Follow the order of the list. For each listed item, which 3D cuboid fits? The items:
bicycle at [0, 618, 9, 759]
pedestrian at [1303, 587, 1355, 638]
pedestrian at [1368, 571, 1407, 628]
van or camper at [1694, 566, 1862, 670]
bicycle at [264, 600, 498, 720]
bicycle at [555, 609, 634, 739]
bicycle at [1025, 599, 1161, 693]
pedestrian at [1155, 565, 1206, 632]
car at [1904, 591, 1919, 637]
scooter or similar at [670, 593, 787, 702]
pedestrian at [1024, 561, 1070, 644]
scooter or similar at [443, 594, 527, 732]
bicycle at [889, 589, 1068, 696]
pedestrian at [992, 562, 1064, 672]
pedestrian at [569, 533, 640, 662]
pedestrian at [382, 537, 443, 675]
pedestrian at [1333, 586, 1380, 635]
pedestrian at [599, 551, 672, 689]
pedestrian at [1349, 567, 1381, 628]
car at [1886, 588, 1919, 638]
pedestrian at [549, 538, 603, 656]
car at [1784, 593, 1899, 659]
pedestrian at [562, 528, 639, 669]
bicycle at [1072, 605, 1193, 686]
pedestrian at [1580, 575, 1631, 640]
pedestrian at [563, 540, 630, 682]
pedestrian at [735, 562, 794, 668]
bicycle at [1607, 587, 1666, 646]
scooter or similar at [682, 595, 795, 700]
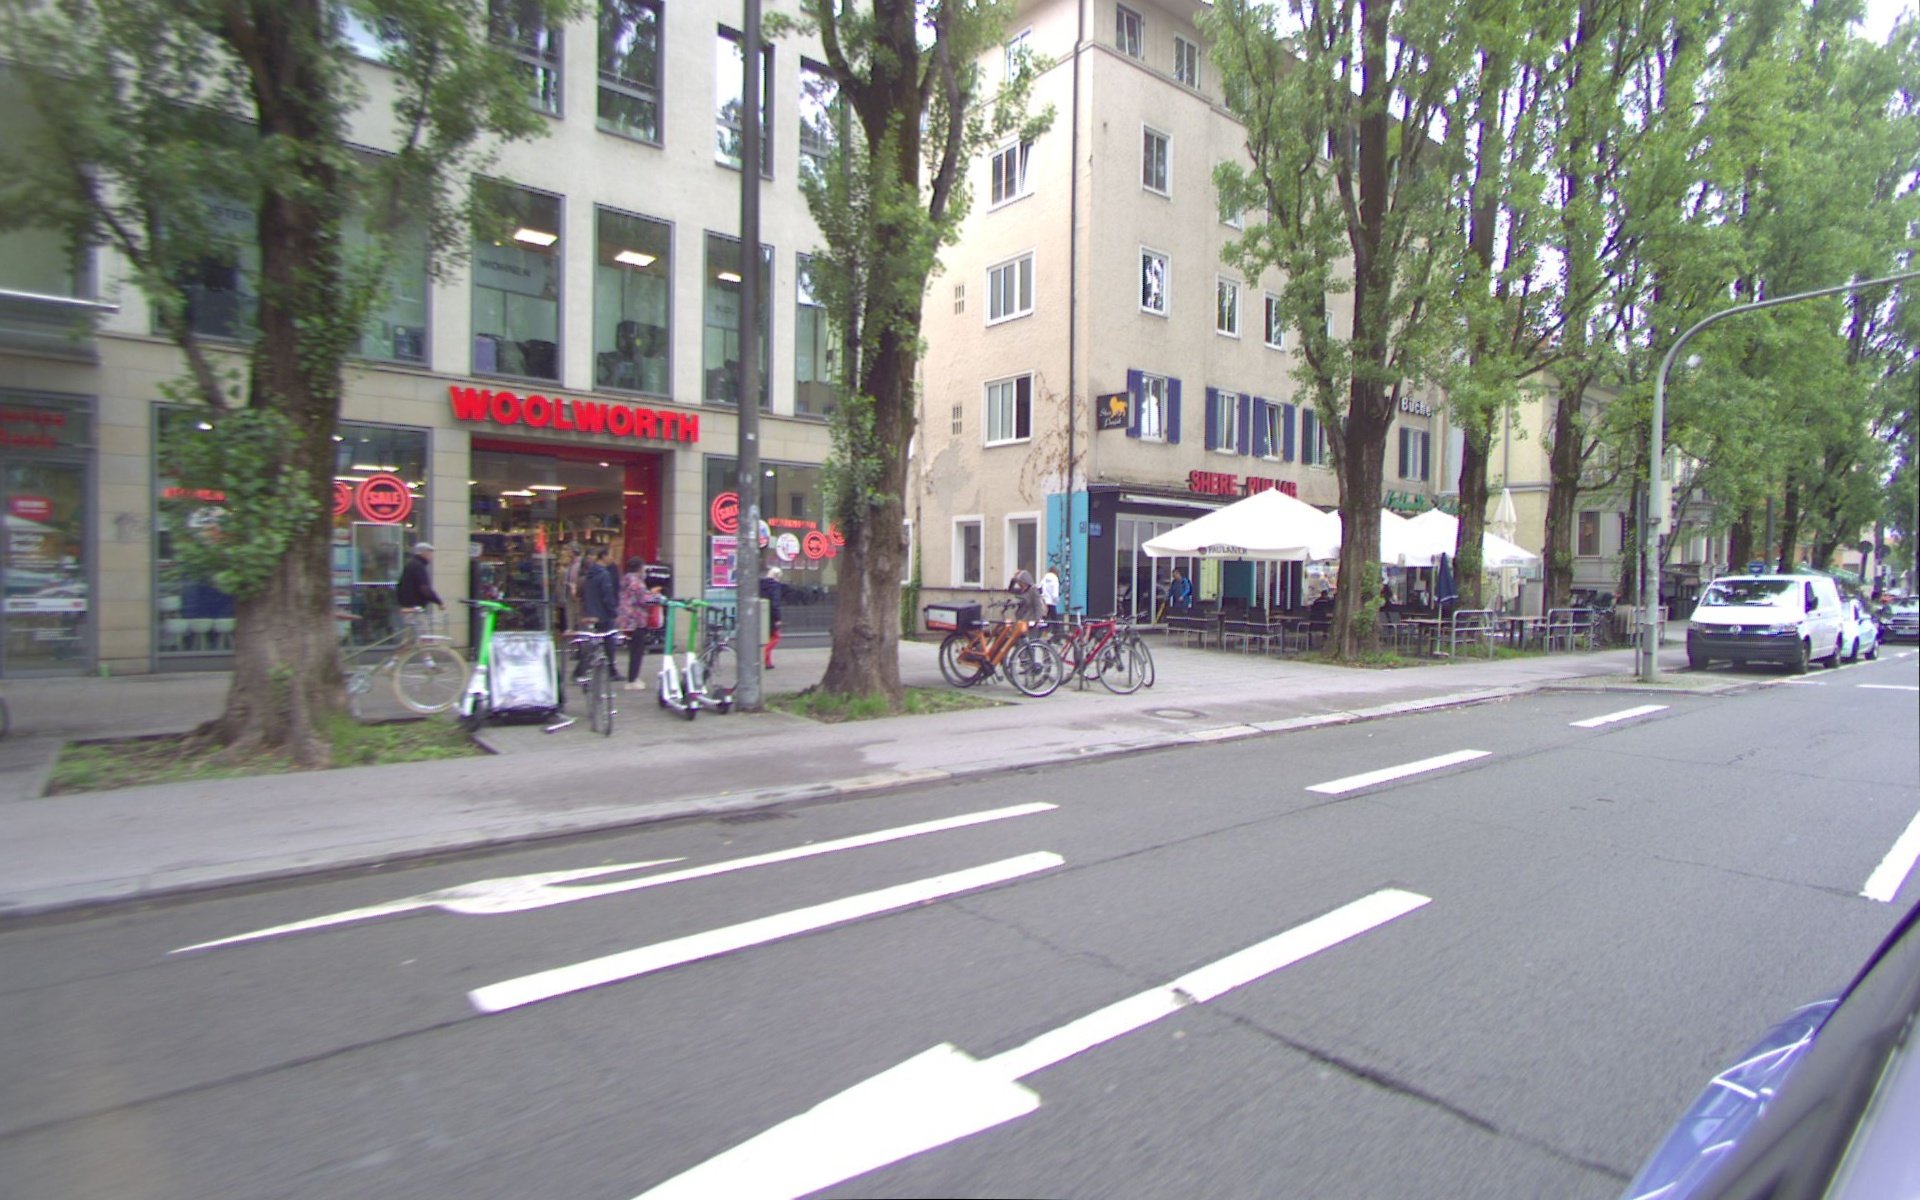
[{"bbox_3d":[-7.752,0.636,7.877,1.998,1.000,0.387,1,1,43],"label":"bicycle"},{"bbox_3d":[9.107,0.305,25.004,1.004,1.231,0.775,0,0,-36],"label":"pedestrian"},{"bbox_3d":[12.193,-0.017,28.848,0.858,1.597,0.696,0,0,-39],"label":"pedestrian"},{"bbox_3d":[16.982,0.313,20.933,4.483,1.929,1.795,0,1,-39],"label":"van or camper"},{"bbox_3d":[-5.660,0.550,9.972,1.967,1.076,0.393,0,2,-36],"label":"bicycle"},{"bbox_3d":[-3.517,0.650,9.651,0.385,1.022,1.848,1,2,-30],"label":"bicycle"},{"bbox_3d":[1.782,0.584,13.829,0.673,1.141,1.902,0,1,-39],"label":"bicycle"},{"bbox_3d":[5.436,-0.039,24.906,0.998,1.624,0.764,0,0,-39],"label":"pedestrian"},{"bbox_3d":[34.086,0.495,35.084,3.537,1.546,1.476,0,1,-39],"label":"car"},{"bbox_3d":[-2.563,0.525,11.231,1.221,1.184,0.286,0,0,3],"label":"scooter or similar"},{"bbox_3d":[1.790,0.044,20.879,0.680,1.685,0.667,0,0,-40],"label":"pedestrian"},{"bbox_3d":[-4.435,0.549,9.511,0.395,1.184,1.246,0,1,-10],"label":"scooter or similar"},{"bbox_3d":[0.181,0.491,13.415,0.948,1.230,2.577,0,1,-39],"label":"bicycle"},{"bbox_3d":[1.044,0.245,15.566,0.778,1.608,0.712,1,2,-33],"label":"pedestrian"},{"bbox_3d":[-5.342,-0.038,15.208,0.806,1.877,0.754,0,0,-38],"label":"pedestrian"},{"bbox_3d":[-7.310,0.074,13.516,0.630,1.790,0.595,0,0,-36],"label":"pedestrian"},{"bbox_3d":[10.078,0.259,25.711,1.004,1.231,0.668,0,0,-36],"label":"pedestrian"},{"bbox_3d":[-4.067,0.241,12.678,0.737,1.669,0.548,0,0,-36],"label":"pedestrian"},{"bbox_3d":[11.779,-0.066,29.443,0.668,1.741,0.629,0,0,-39],"label":"pedestrian"},{"bbox_3d":[31.086,0.408,32.491,3.537,1.546,1.476,0,1,-39],"label":"car"},{"bbox_3d":[-5.996,-0.052,15.799,0.630,1.790,0.547,0,0,-39],"label":"pedestrian"},{"bbox_3d":[20.914,0.564,23.984,3.420,1.414,1.476,0,1,-39],"label":"car"},{"bbox_3d":[-5.012,-0.031,14.104,0.805,1.893,0.754,0,1,-36],"label":"pedestrian"},{"bbox_3d":[2.439,0.618,14.528,0.494,1.022,1.844,0,1,-39],"label":"bicycle"},{"bbox_3d":[18.261,0.199,28.647,0.820,1.788,0.944,0,0,-1],"label":"pedestrian"},{"bbox_3d":[-4.687,0.136,13.048,0.683,1.764,0.566,0,0,-36],"label":"pedestrian"},{"bbox_3d":[-2.937,0.214,15.196,0.683,1.539,0.566,0,0,-36],"label":"pedestrian"},{"bbox_3d":[17.279,0.399,25.913,0.819,1.429,2.578,0,0,24],"label":"bicycle"},{"bbox_3d":[-2.531,0.537,11.608,1.220,1.184,0.307,0,0,0],"label":"scooter or similar"}]
